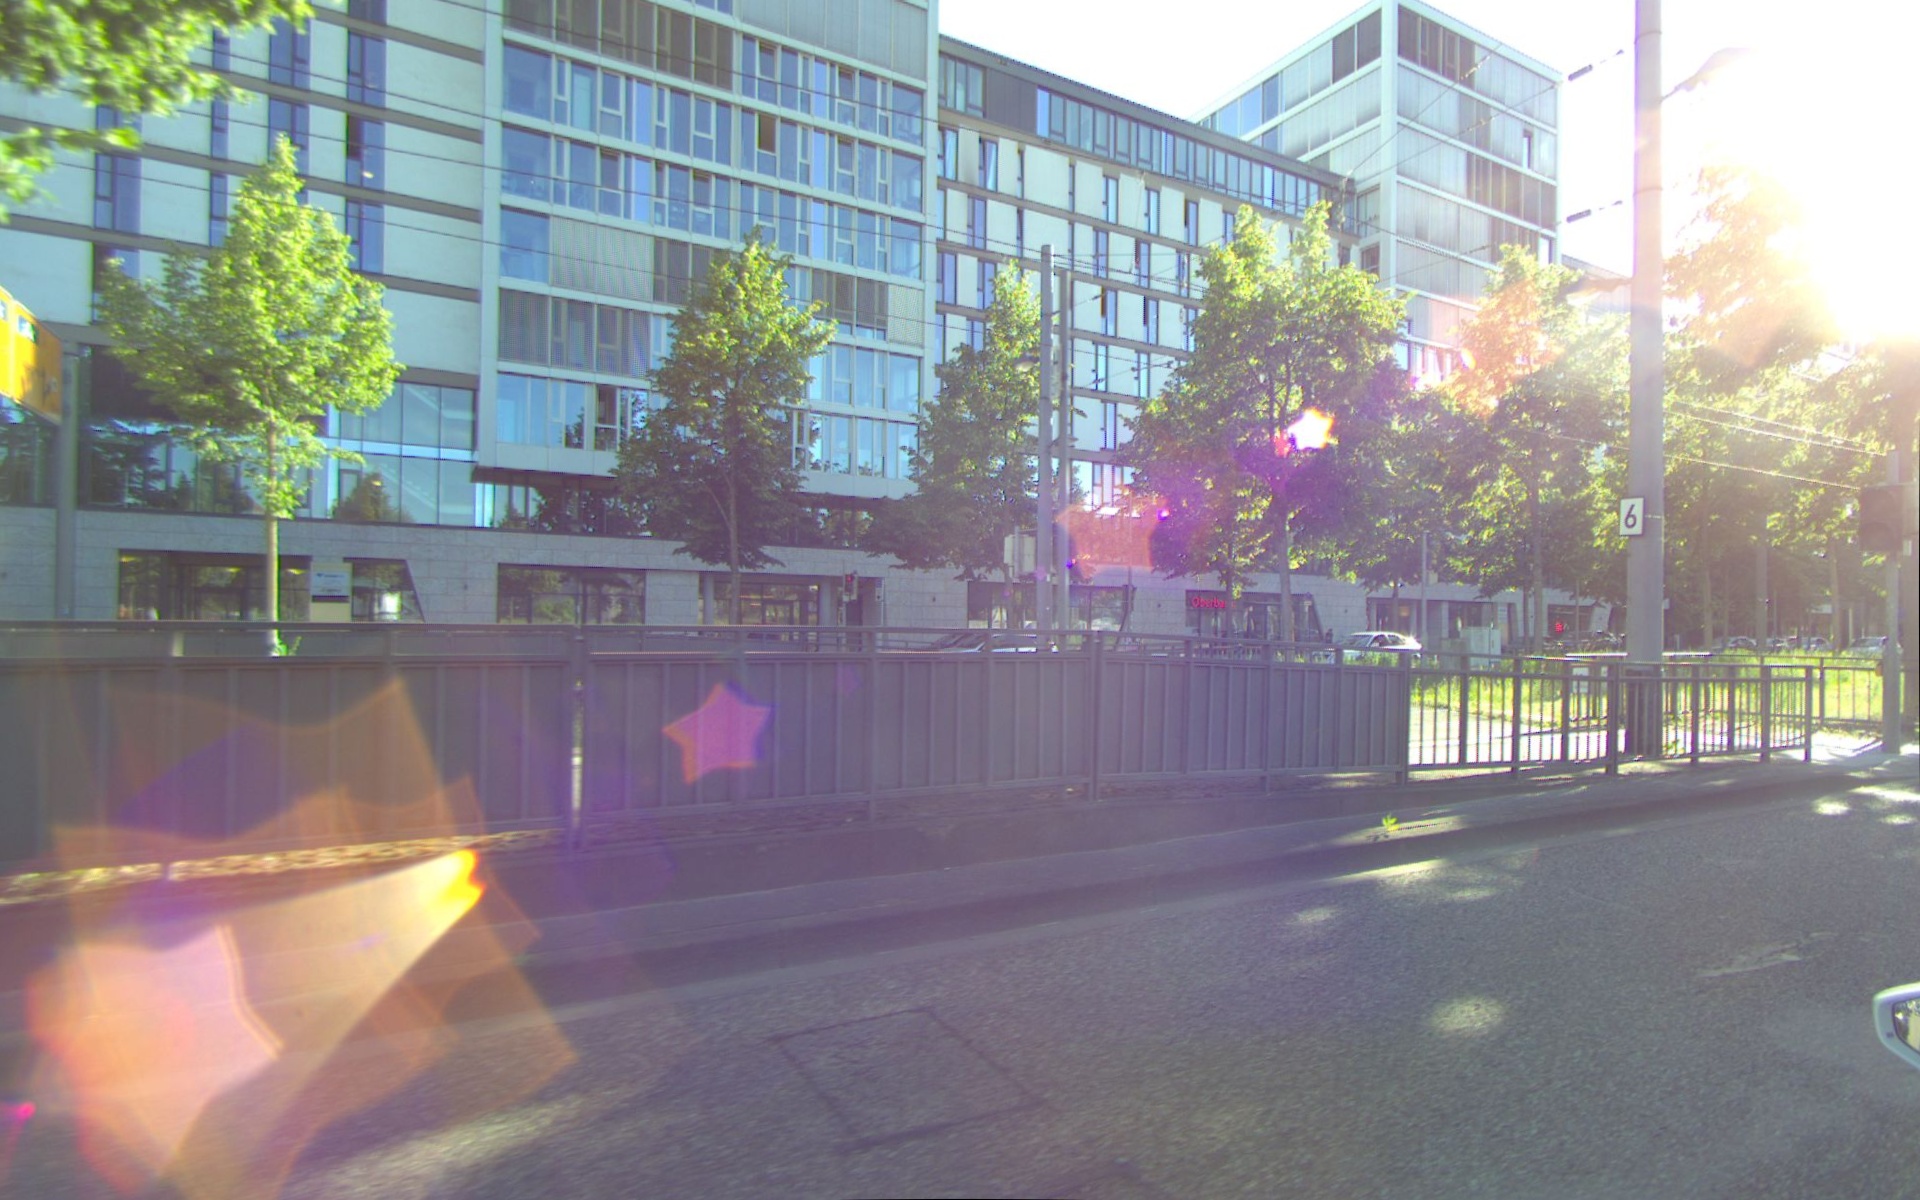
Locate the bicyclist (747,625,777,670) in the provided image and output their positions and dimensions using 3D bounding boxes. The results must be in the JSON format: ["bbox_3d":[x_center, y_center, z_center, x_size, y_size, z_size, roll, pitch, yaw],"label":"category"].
[{"bbox_3d":[-6.659,1.574,33.774,0.821,1.483,0.717,1,-1,-28],"label":"bicyclist"}]

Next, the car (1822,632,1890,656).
[{"bbox_3d":[49.665,2.436,55.678,3.441,1.254,1.762,1,-2,-29],"label":"car"}]

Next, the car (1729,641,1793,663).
[{"bbox_3d":[53.176,3.441,66.684,4.488,1.439,1.708,1,-2,-28],"label":"car"}]

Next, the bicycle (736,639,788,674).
[{"bbox_3d":[-6.659,1.906,33.773,1.551,1.135,0.729,1,-1,-28],"label":"bicycle"}]

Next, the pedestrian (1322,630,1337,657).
[{"bbox_3d":[20.174,2.395,54.861,0.682,1.431,0.406,3,-2,-30],"label":"pedestrian"}]

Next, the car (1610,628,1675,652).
[{"bbox_3d":[39.886,2.325,58.665,3.710,1.372,1.725,1,-2,-30],"label":"car"}]

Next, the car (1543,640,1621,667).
[{"bbox_3d":[34.576,2.956,55.797,4.749,1.438,1.660,1,-2,-30],"label":"car"}]

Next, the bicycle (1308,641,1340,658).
[{"bbox_3d":[20.070,2.740,55.359,1.991,0.892,0.539,2,-1,-30],"label":"bicycle"}]

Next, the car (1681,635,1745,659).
[{"bbox_3d":[48.233,2.998,64.326,4.491,1.439,1.707,1,-1,-30],"label":"car"}]

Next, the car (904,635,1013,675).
[{"bbox_3d":[-0.040,1.912,35.044,3.425,1.251,1.642,3,-2,-30],"label":"car"}]

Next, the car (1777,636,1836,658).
[{"bbox_3d":[58.841,3.263,69.787,4.491,1.439,1.707,1,-1,-30],"label":"car"}]

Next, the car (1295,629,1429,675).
[{"bbox_3d":[13.356,1.687,33.306,4.456,1.422,1.809,1,-2,-30],"label":"car"}]

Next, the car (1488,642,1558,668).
[{"bbox_3d":[29.667,2.861,52.917,3.541,1.223,1.660,-1,-1,-31],"label":"car"}]

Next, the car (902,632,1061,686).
[{"bbox_3d":[0.647,1.709,28.930,4.283,1.422,1.751,3,-2,-30],"label":"car"}]
